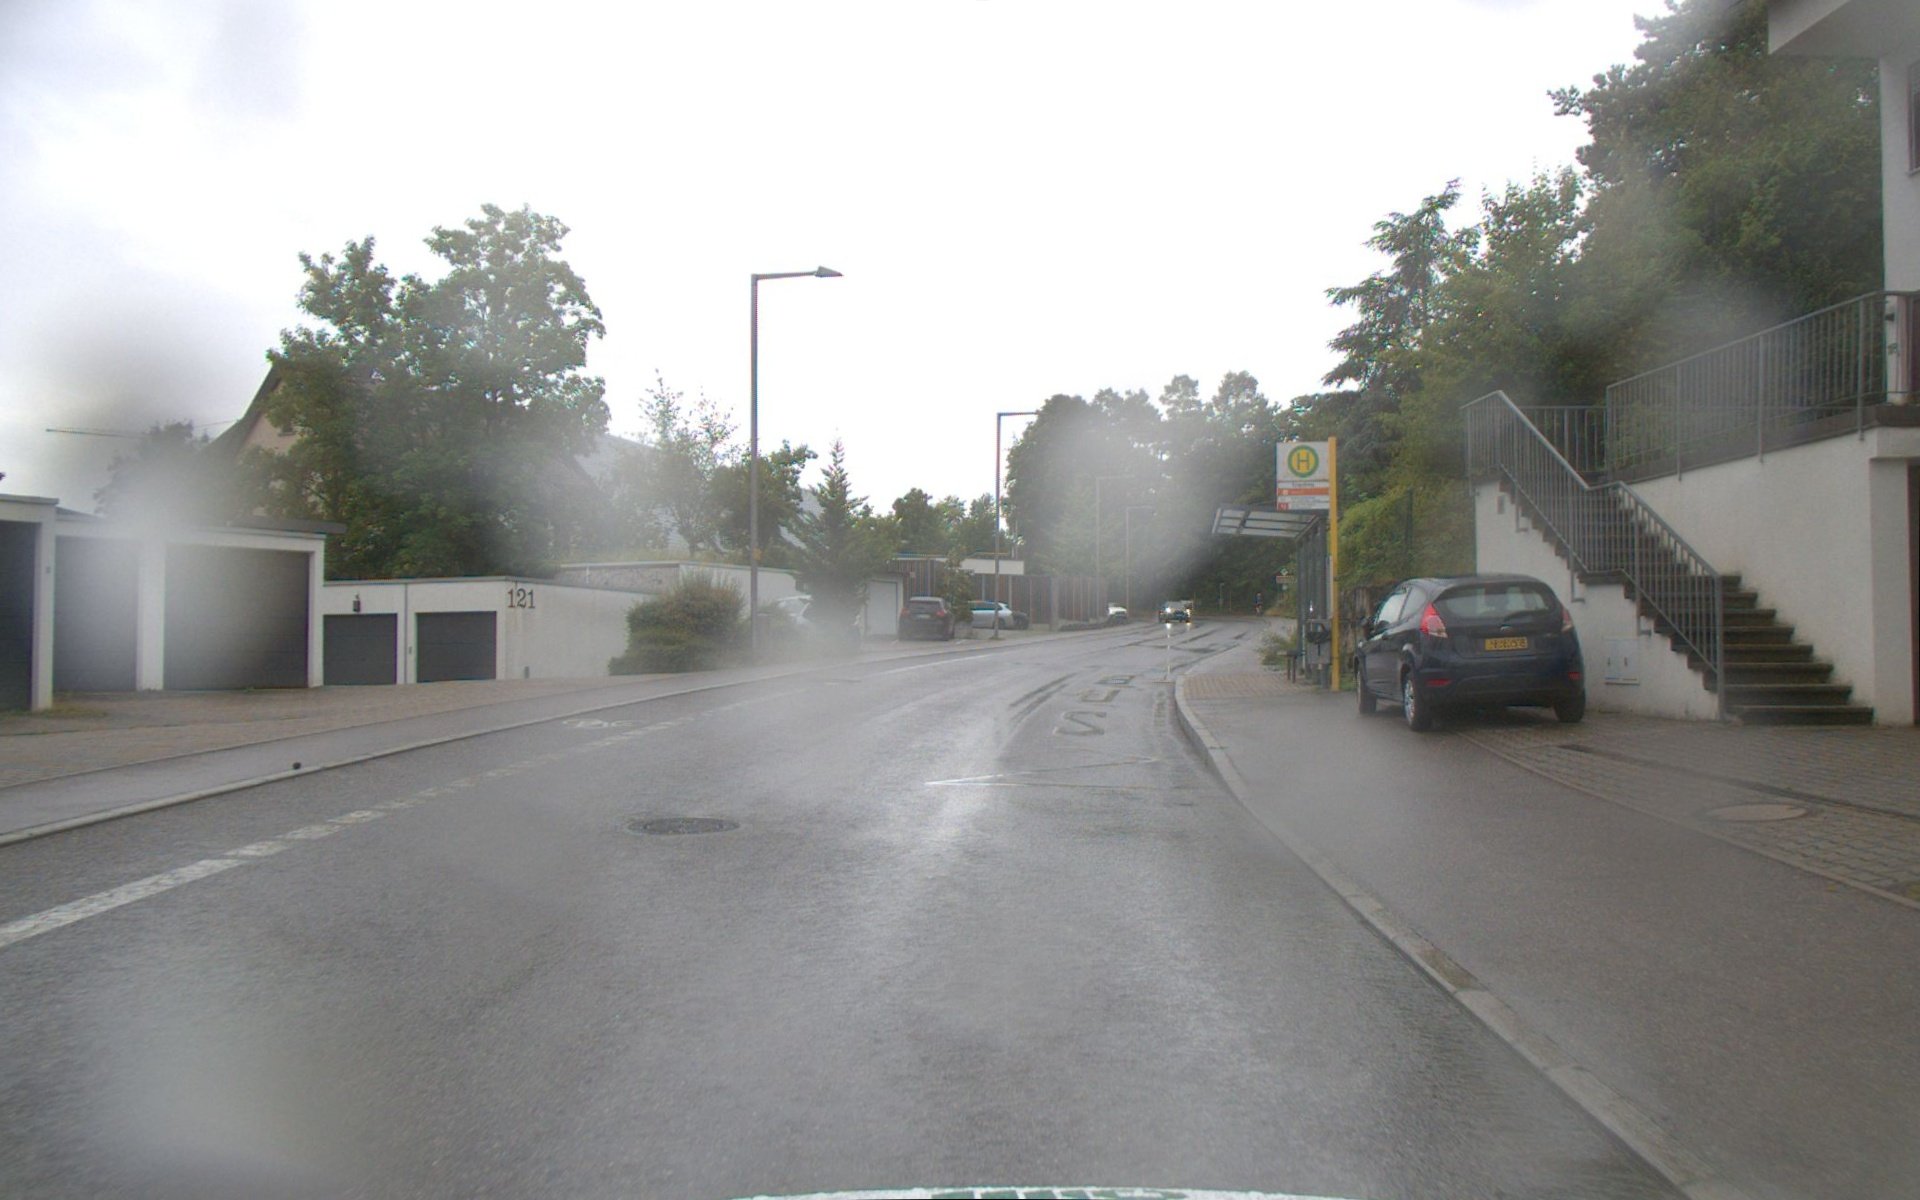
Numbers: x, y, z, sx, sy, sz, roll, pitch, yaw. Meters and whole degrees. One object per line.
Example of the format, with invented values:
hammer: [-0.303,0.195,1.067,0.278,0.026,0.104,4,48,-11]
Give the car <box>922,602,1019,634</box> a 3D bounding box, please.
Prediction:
car: [0.516,0.857,80.477,4.464,1.467,1.746,1,-1,-27]

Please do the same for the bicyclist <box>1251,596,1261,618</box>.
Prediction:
bicyclist: [22.497,0.562,125.550,0.705,1.643,0.906,1,-1,12]

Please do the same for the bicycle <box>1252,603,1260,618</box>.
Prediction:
bicycle: [22.482,0.796,125.534,0.516,1.104,1.622,1,0,13]

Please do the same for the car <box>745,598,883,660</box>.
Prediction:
car: [-3.862,0.756,44.493,1.671,1.580,4.384,0,0,26]

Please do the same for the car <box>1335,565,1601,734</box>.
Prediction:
car: [5.158,0.472,17.337,1.669,1.479,4.022,-3,0,3]

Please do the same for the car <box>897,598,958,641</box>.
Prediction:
car: [-1.098,0.662,58.316,1.795,1.430,4.262,0,0,4]

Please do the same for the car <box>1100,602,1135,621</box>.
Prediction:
car: [13.058,0.945,137.330,1.814,1.486,4.256,0,0,-11]

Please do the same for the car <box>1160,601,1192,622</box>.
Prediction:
car: [15.702,0.824,120.156,1.813,1.495,3.699,0,0,-1]
